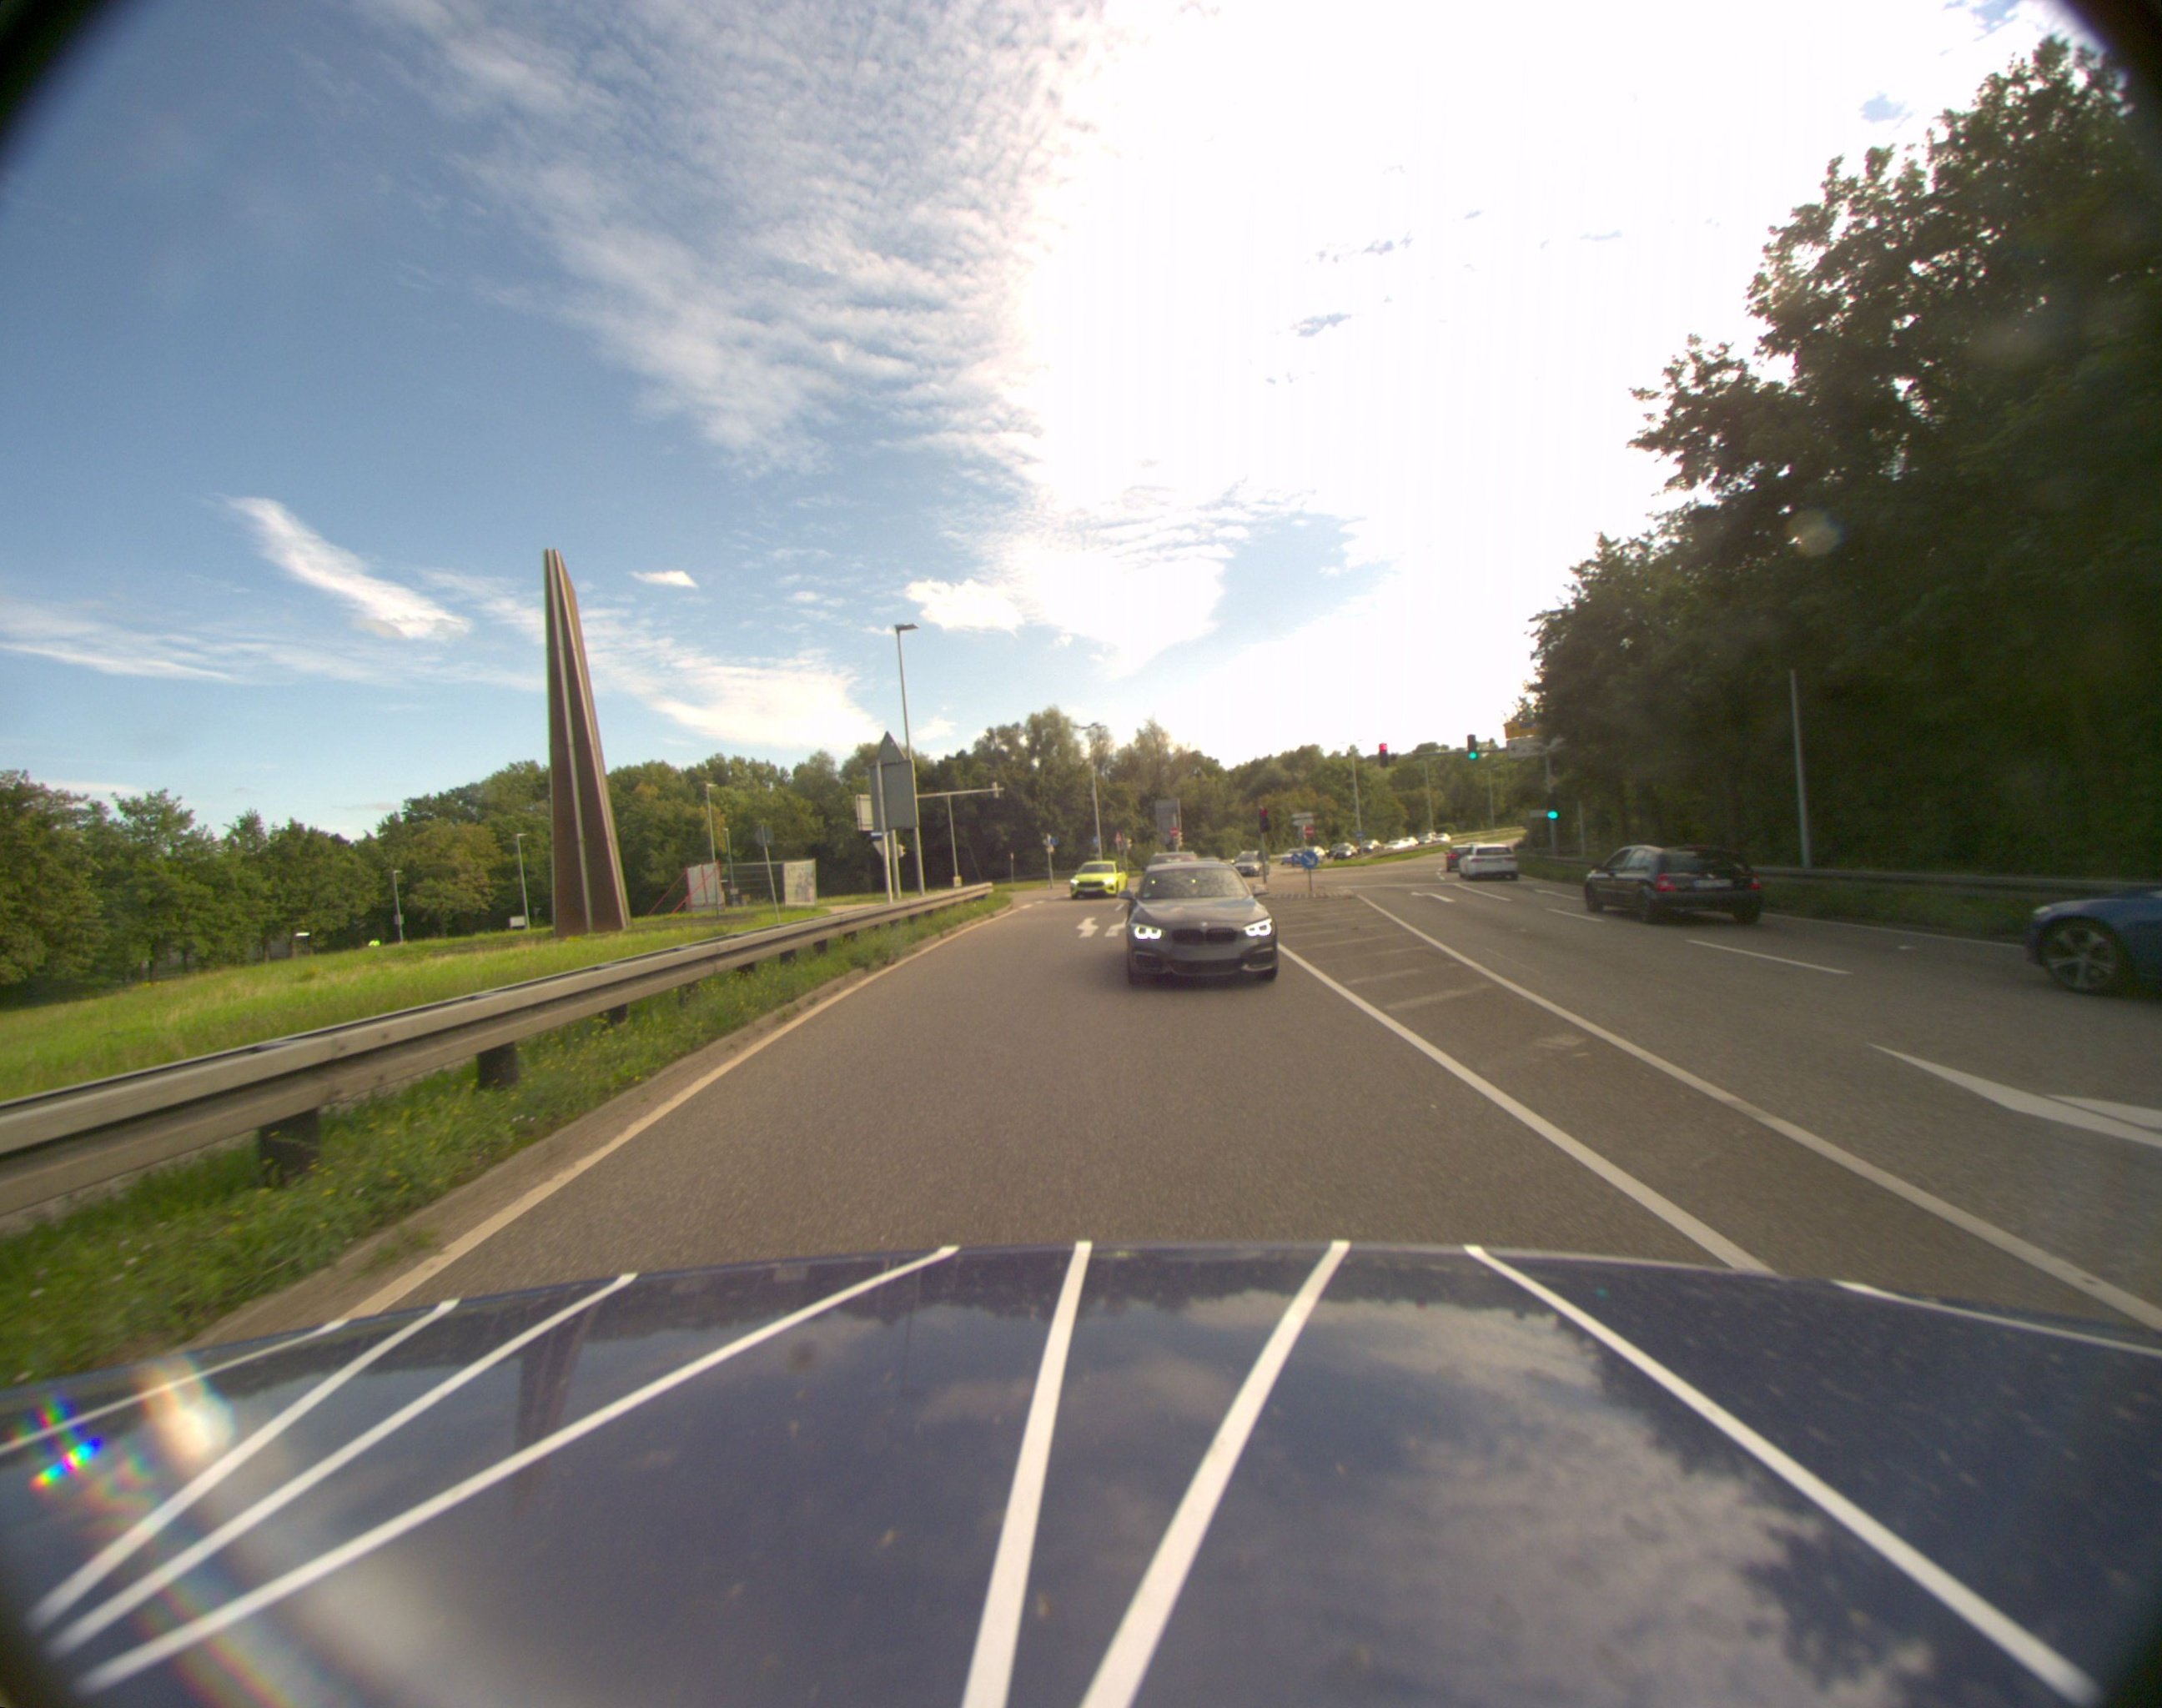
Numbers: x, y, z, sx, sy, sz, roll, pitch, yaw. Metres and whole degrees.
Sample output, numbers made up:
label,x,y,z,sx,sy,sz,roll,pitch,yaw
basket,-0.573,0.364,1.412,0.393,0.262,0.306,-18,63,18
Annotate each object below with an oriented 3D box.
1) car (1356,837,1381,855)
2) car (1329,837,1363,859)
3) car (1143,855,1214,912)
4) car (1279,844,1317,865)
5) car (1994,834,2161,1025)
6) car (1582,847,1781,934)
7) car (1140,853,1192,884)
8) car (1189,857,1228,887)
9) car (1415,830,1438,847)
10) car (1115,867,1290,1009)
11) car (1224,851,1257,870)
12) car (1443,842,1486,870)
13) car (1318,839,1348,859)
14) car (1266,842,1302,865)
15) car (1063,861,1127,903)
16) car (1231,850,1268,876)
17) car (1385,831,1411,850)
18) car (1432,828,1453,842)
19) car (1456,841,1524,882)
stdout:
label,x,y,z,sx,sy,sz,roll,pitch,yaw
car,34.722,-0.983,91.758,1.995,2.002,4.007,-2,1,32
car,26.130,-0.582,74.844,1.995,2.002,4.280,-2,1,36
car,3.119,0.839,23.581,1.817,1.498,4.395,-3,0,11
car,18.428,0.035,64.347,1.995,1.591,4.288,-2,0,31
car,9.247,0.586,4.776,1.817,1.511,4.768,-1,0,10
car,10.838,0.590,14.058,1.626,1.357,3.778,-3,0,18
car,4.964,0.820,43.994,1.996,1.543,4.005,-3,0,21
car,6.332,0.856,37.994,1.690,1.315,3.786,-3,0,7
car,44.255,-1.963,97.242,1.995,2.002,4.007,-2,1,33
car,1.396,0.940,10.162,1.786,1.396,3.971,-3,0,2
car,12.837,0.497,61.024,1.637,1.396,3.747,-3,0,26
car,20.947,0.099,41.587,1.816,1.396,4.398,-3,0,24
car,27.547,-0.597,83.034,1.995,2.002,4.007,-2,1,34
car,19.245,-0.070,72.020,1.995,2.002,4.007,-2,1,34
car,0.639,1.020,29.293,1.817,1.396,4.394,-1,0,9
car,11.207,0.574,50.394,1.637,1.543,3.746,-3,0,23
car,36.949,-1.613,88.463,1.995,2.002,4.007,-2,1,33
car,54.087,-2.889,113.710,1.995,2.002,4.007,-2,1,37
car,16.945,0.266,31.693,1.816,1.511,4.833,-3,0,20
